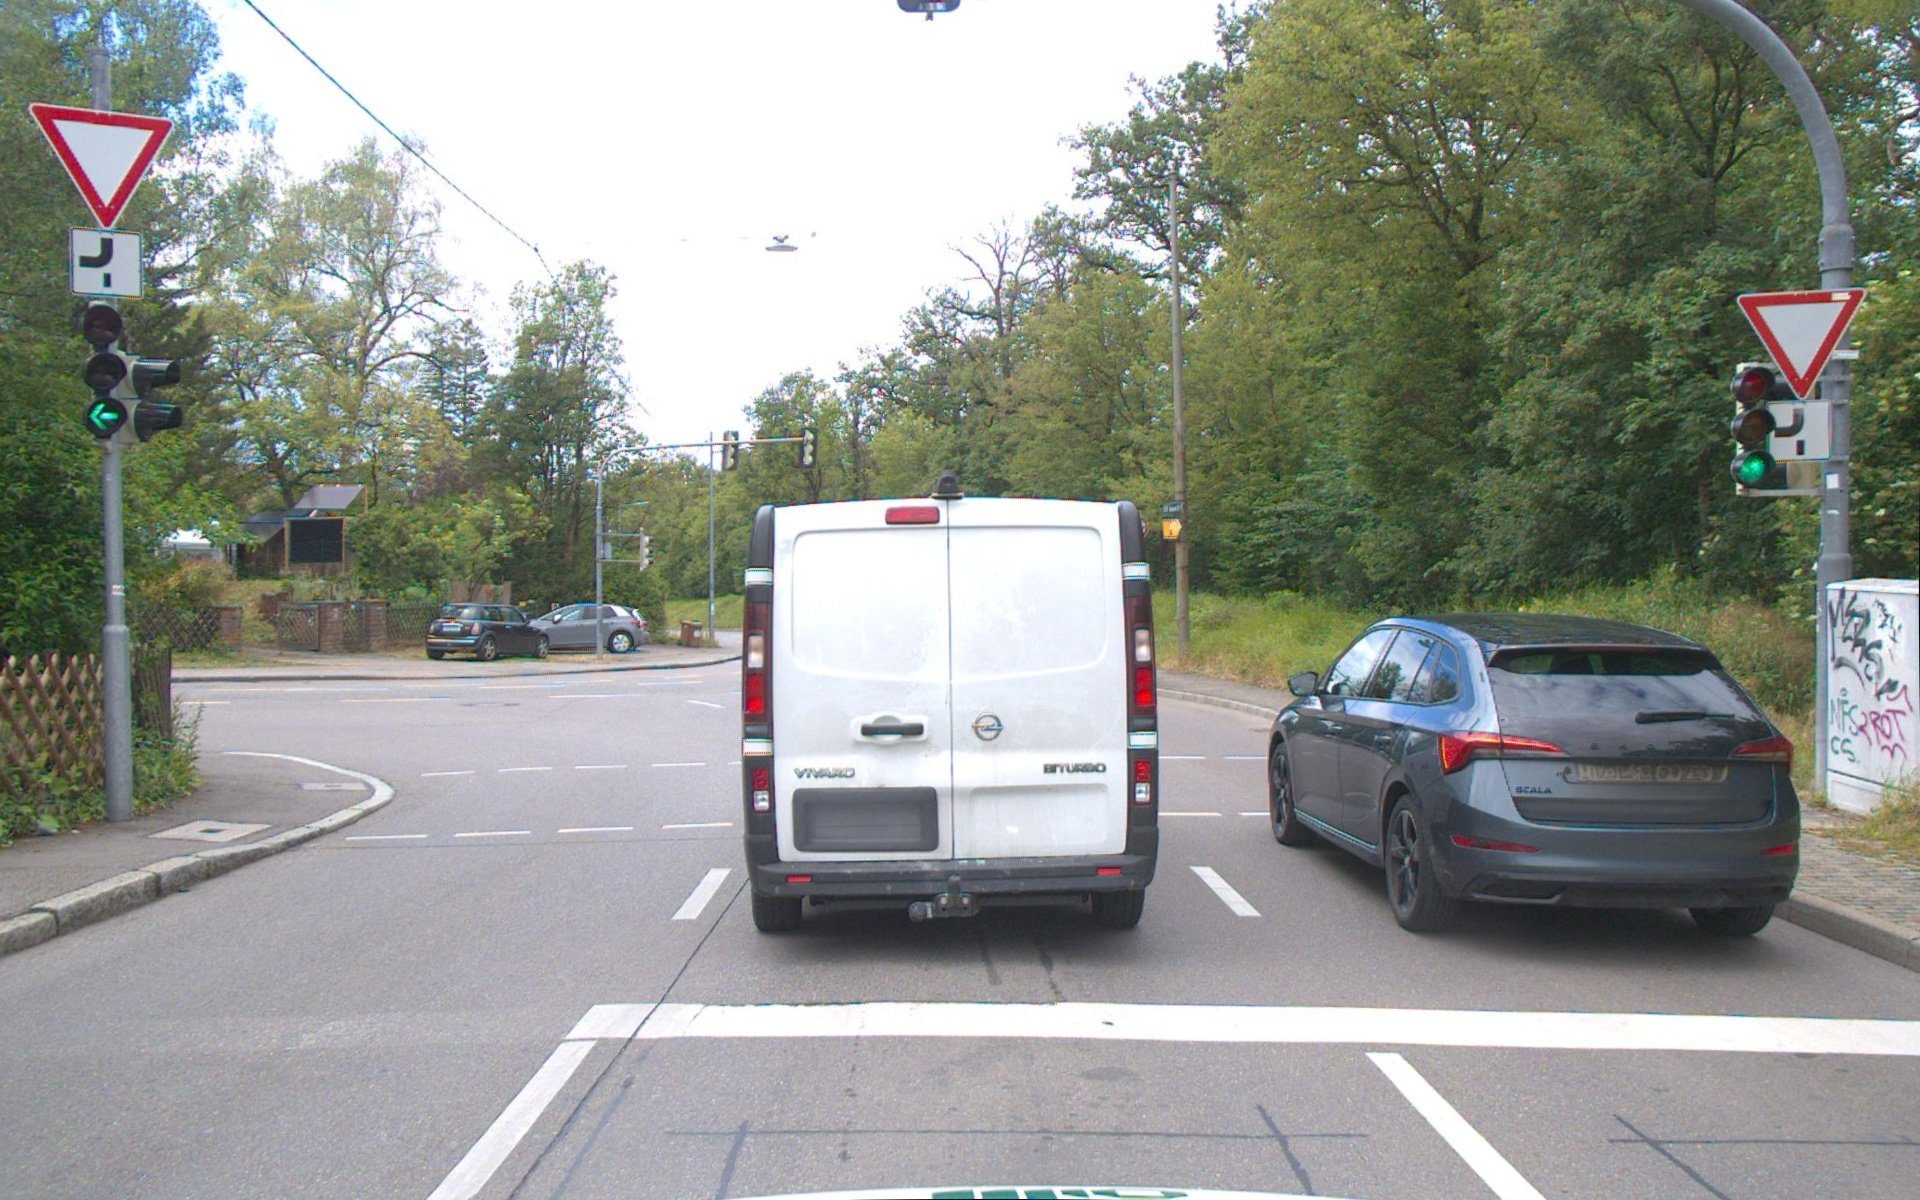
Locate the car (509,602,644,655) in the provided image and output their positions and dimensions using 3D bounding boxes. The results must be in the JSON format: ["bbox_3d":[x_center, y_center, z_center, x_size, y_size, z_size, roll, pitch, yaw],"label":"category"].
[{"bbox_3d":[-12.052,0.866,51.965,4.022,1.580,1.845,0,0,-18],"label":"car"}]

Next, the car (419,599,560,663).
[{"bbox_3d":[-11.832,0.761,41.779,1.662,1.474,3.544,2,0,19],"label":"car"}]

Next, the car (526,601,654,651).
[{"bbox_3d":[-12.337,0.856,55.127,4.022,1.580,1.845,0,0,-18],"label":"car"}]

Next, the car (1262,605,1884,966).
[{"bbox_3d":[2.923,0.773,8.881,1.756,1.476,3.998,0,0,-2],"label":"car"}]

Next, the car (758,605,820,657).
[{"bbox_3d":[-5.279,0.927,51.306,1.820,1.533,3.996,-1,0,-5],"label":"car"}]

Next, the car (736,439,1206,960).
[{"bbox_3d":[-0.058,0.412,9.064,1.878,2.089,4.611,1,0,-3],"label":"car"}]
